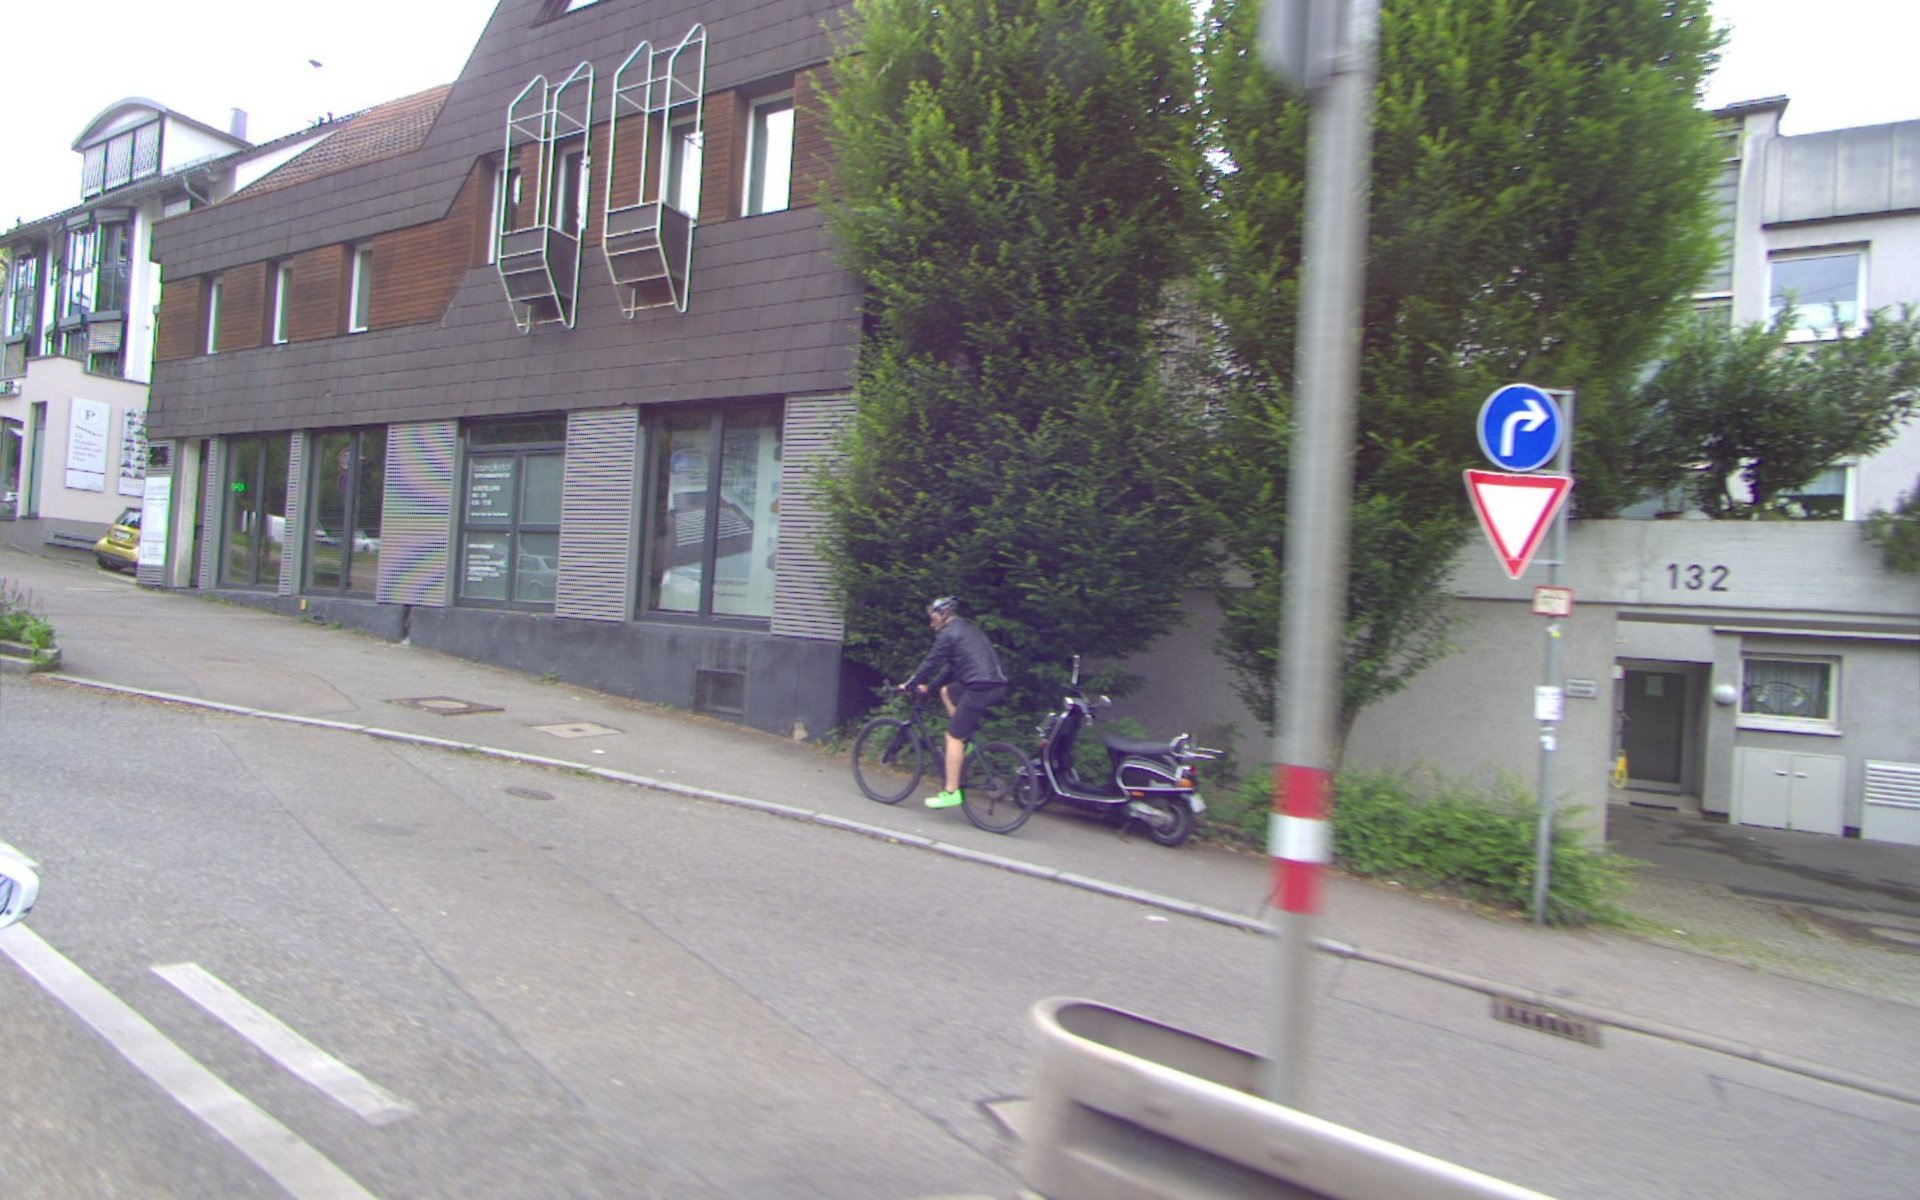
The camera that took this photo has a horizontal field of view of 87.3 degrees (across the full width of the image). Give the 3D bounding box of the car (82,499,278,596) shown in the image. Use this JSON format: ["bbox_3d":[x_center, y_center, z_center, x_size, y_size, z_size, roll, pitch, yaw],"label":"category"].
[{"bbox_3d":[-17.979,-1.165,23.324,1.636,1.478,3.007,9,-5,24],"label":"car"}]

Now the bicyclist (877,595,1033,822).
[{"bbox_3d":[-0.039,0.849,8.163,0.931,1.653,0.538,7,0,30],"label":"bicyclist"}]

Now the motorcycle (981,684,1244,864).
[{"bbox_3d":[1.235,1.372,8.335,1.934,1.064,0.696,7,2,32],"label":"motorcycle"}]

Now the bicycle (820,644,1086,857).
[{"bbox_3d":[-0.096,1.151,8.174,2.004,1.278,0.572,9,2,30],"label":"bicycle"}]
